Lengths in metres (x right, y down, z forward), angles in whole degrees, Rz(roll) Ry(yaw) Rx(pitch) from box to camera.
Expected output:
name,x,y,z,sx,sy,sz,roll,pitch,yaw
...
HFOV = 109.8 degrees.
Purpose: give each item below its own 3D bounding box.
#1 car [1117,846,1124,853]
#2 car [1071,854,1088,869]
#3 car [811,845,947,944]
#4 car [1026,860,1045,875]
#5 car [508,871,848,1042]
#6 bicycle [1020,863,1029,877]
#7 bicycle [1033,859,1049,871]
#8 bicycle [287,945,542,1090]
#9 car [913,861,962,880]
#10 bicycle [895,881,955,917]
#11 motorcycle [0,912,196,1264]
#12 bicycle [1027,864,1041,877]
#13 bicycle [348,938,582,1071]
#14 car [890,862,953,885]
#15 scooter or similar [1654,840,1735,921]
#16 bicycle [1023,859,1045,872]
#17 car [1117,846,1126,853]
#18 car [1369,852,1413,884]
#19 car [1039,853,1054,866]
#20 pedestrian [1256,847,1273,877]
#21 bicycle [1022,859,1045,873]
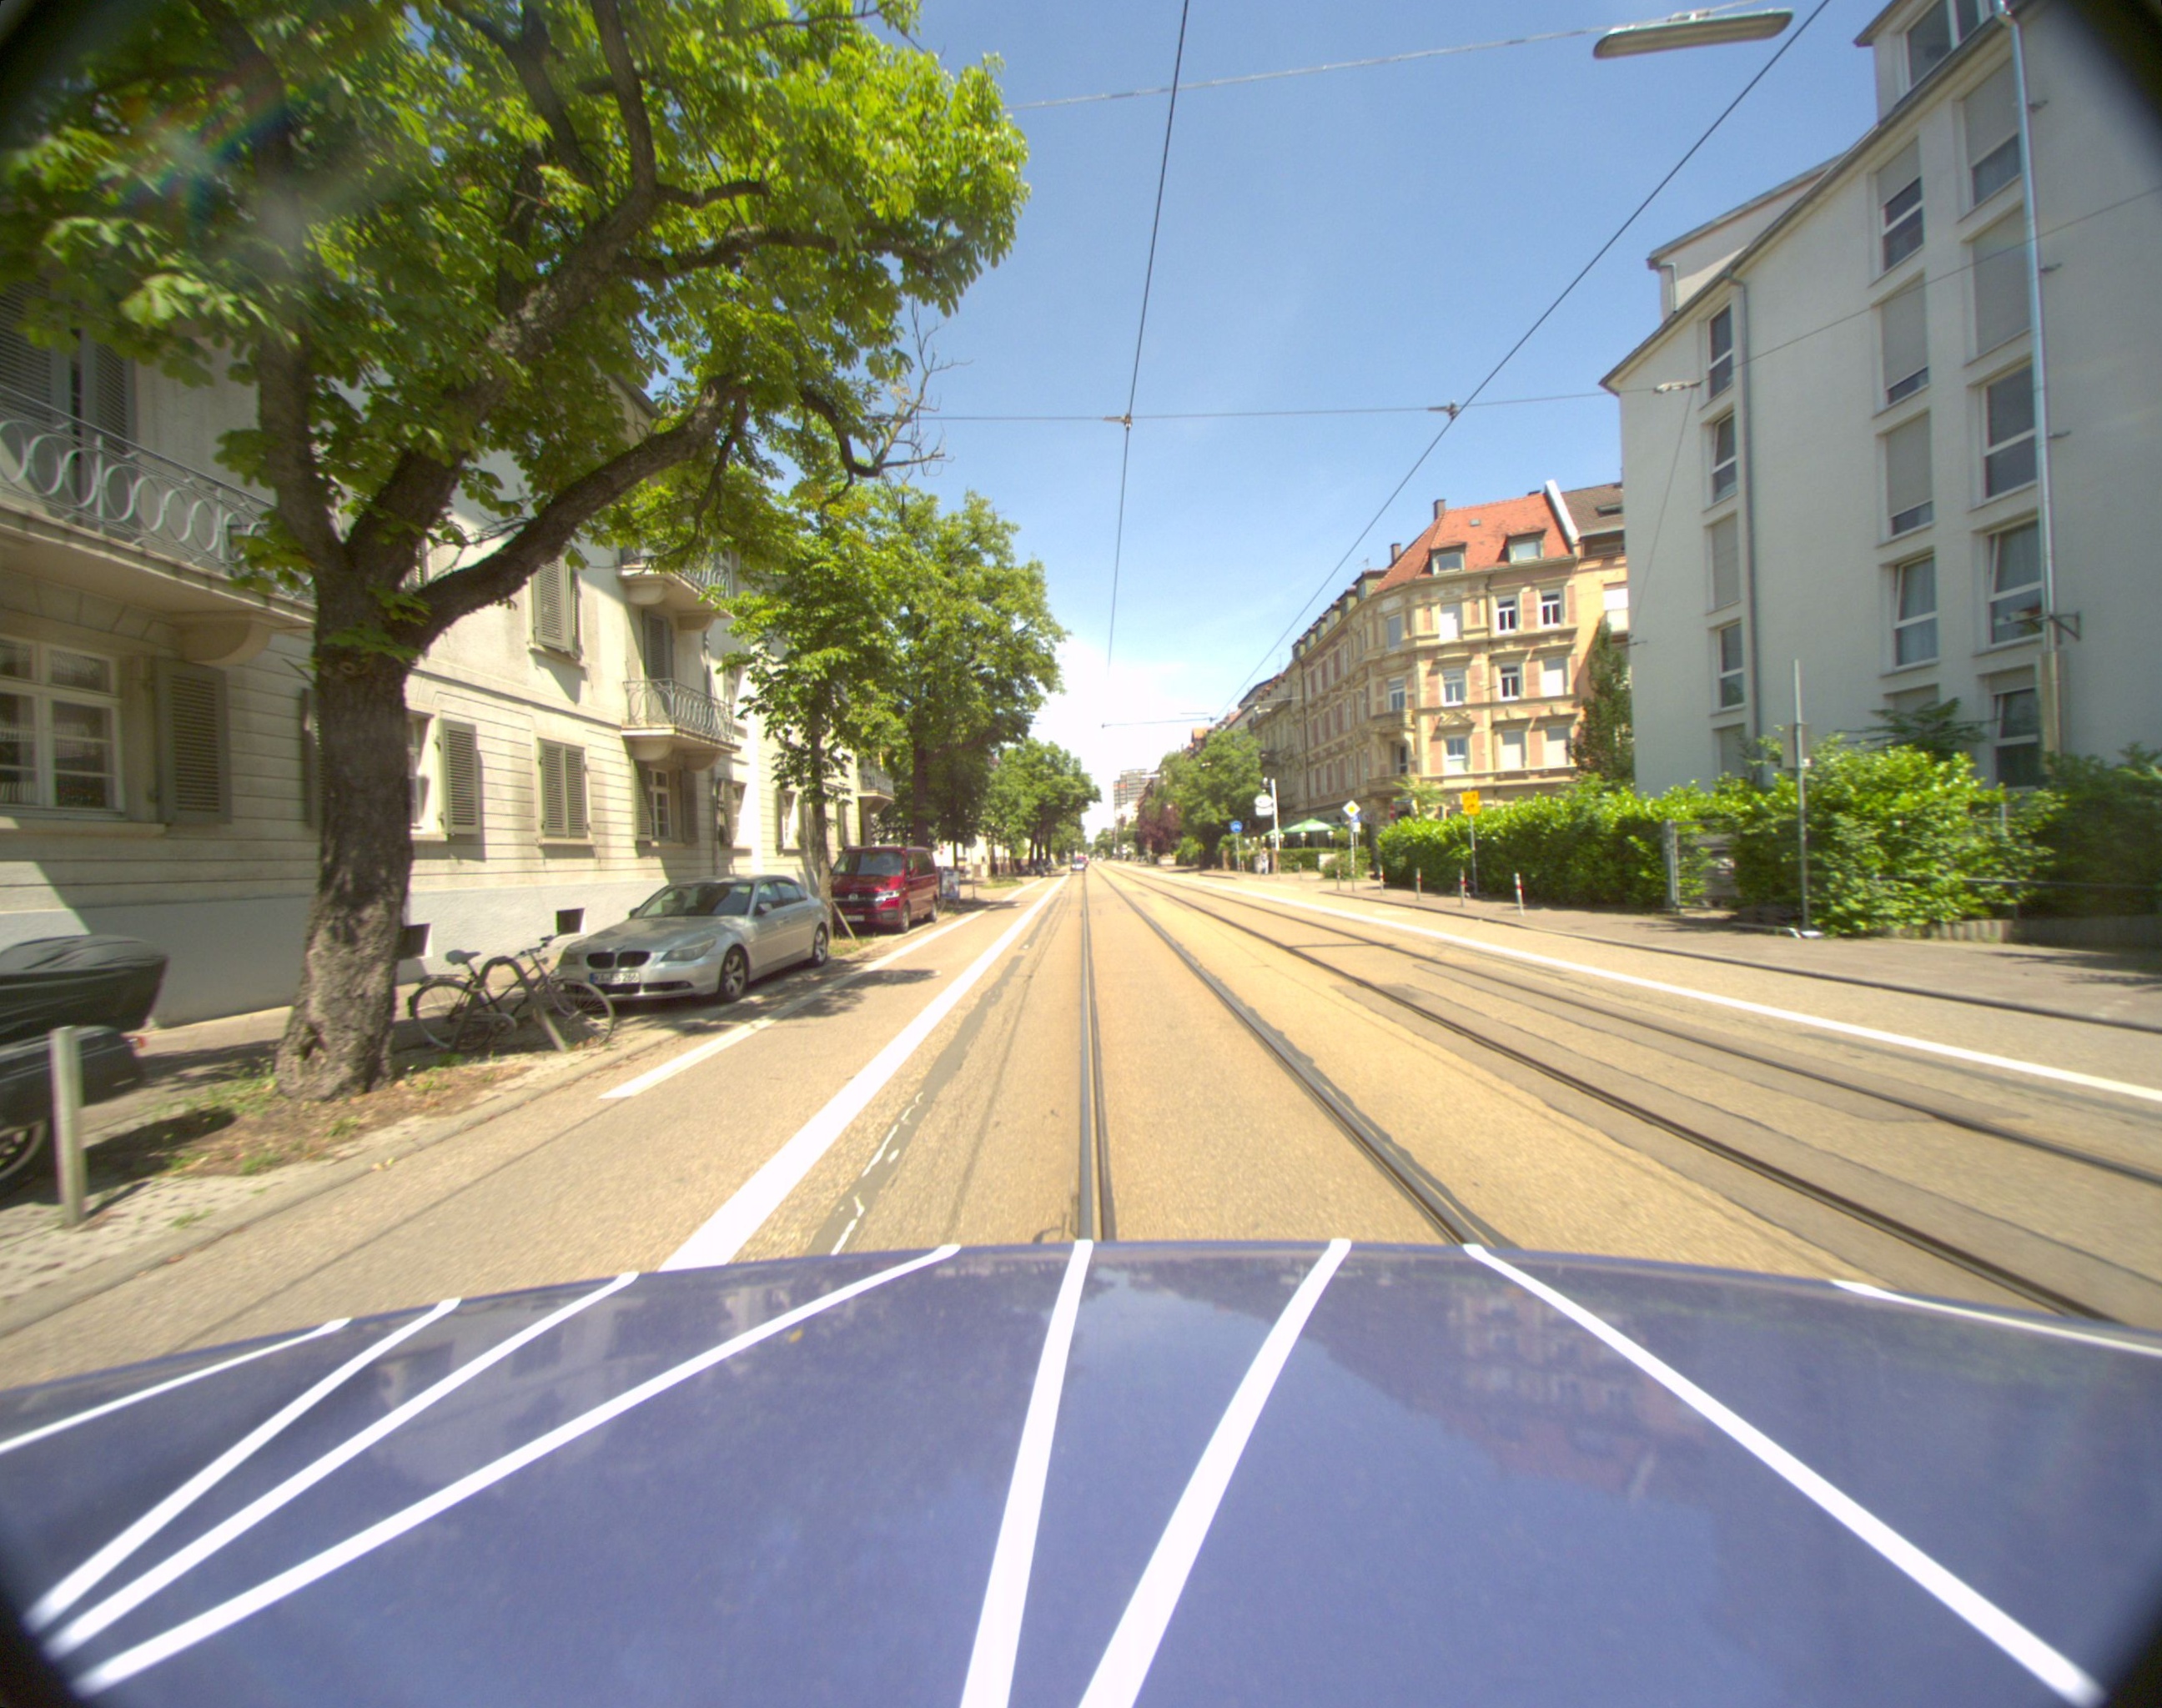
name,x,y,z,sx,sy,sz,roll,pitch,yaw
car,9.179,-1.044,176.436,1.493,1.372,3.630,-3,1,0
car,-0.154,0.818,86.473,1.893,1.561,4.036,-3,1,0
car,-4.698,0.852,18.504,1.864,2.002,4.975,-3,0,0
car,-4.611,1.349,77.371,1.596,1.444,3.632,-1,0,1
car,-4.905,1.110,10.266,1.864,1.568,4.877,-3,0,1
bicycle,-5.073,1.440,68.011,0.284,1.193,1.625,-3,1,-19
bicycle,-4.318,1.159,81.913,1.623,1.193,0.305,-3,1,2
bicycle,-5.248,1.279,6.017,1.662,1.010,0.371,-2,1,1
car,-12.347,1.426,65.415,3.874,1.439,1.648,-2,2,22
bicycle,-4.649,1.332,22.656,1.701,1.016,0.364,-1,1,-6
motorcycle,-5.256,1.063,2.771,0.746,1.497,2.561,-2,0,12
bicycle,-4.176,1.469,67.800,1.169,1.057,0.280,-2,1,3
bicycle,-5.207,1.265,6.456,1.662,1.010,0.371,-2,1,1
car,-12.466,1.495,59.325,4.665,1.506,1.879,-4,-1,29
scooter or similar,11.572,0.486,14.341,1.011,1.442,0.597,-3,1,0
bicycle,-4.490,1.100,72.946,2.037,1.193,0.445,-3,1,10
car,10.438,-1.211,195.575,1.998,1.717,3.871,-3,1,0
car,15.346,0.666,37.768,1.592,1.430,3.762,-2,0,16
car,-4.310,0.702,95.617,1.539,1.535,4.000,-3,0,0
pedestrian,10.542,0.458,43.581,0.742,1.632,0.939,-2,0,3
bicycle,-4.541,1.128,72.439,2.037,1.193,0.445,-3,1,10
